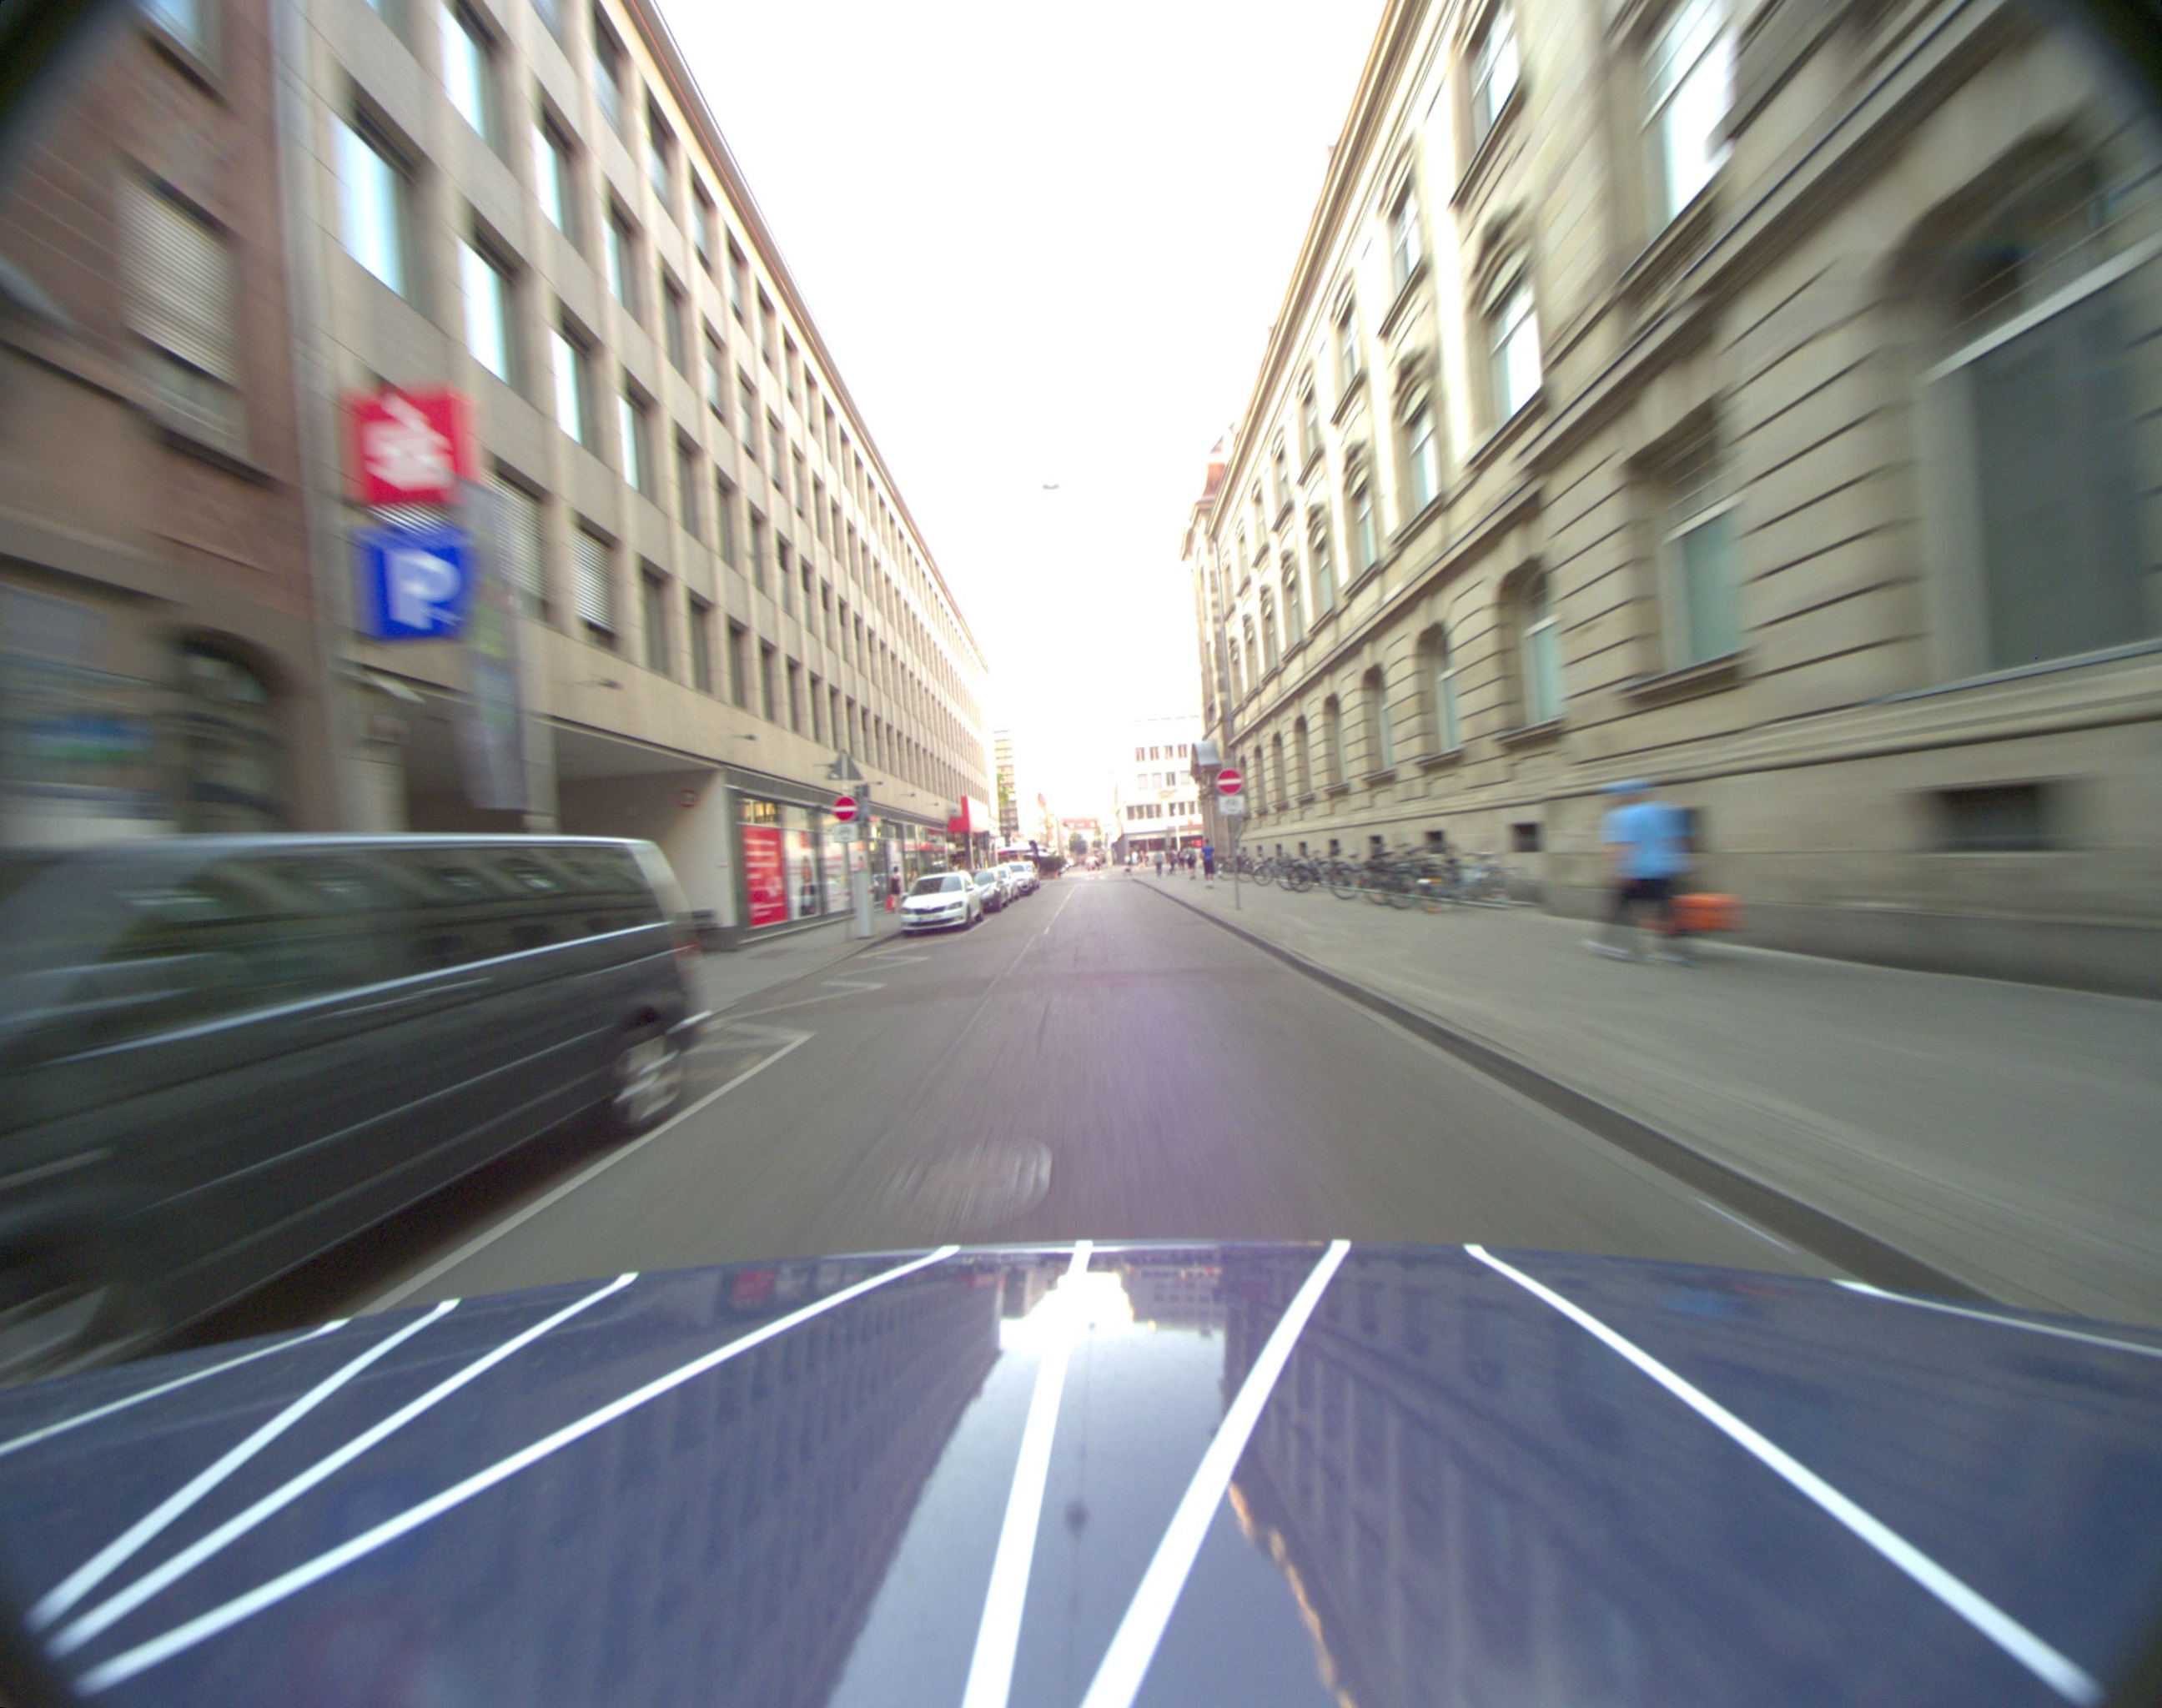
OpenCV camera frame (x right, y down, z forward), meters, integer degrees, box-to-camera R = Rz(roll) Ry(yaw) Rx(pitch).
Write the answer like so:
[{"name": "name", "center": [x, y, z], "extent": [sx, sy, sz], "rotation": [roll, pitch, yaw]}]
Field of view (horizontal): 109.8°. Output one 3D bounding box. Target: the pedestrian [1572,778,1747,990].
[{"name": "pedestrian", "center": [5.217, 0.262, 6.912], "extent": [0.831, 1.735, 0.769], "rotation": [-6, 0, 1]}]

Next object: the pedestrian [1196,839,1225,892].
[{"name": "pedestrian", "center": [4.640, 0.403, 27.184], "extent": [0.777, 1.778, 0.821], "rotation": [-5, 0, 15]}]

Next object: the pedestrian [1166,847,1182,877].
[{"name": "pedestrian", "center": [5.516, 0.462, 45.059], "extent": [0.731, 1.658, 0.858], "rotation": [-7, 0, 4]}]

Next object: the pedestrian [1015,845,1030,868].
[{"name": "pedestrian", "center": [-4.589, 0.199, 59.953], "extent": [0.685, 1.751, 0.801], "rotation": [-4, 0, 42]}]

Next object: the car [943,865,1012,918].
[{"name": "car", "center": [-3.465, 1.229, 26.207], "extent": [1.661, 1.439, 4.445], "rotation": [-5, 0, -1]}]

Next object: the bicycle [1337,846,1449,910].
[{"name": "bicycle", "center": [6.407, 0.484, 15.659], "extent": [1.943, 1.072, 0.730], "rotation": [-6, 1, -6]}]

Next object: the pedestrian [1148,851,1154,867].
[{"name": "pedestrian", "center": [7.649, 0.505, 83.174], "extent": [0.545, 1.698, 0.558], "rotation": [-5, 0, 1]}]

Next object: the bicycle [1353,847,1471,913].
[{"name": "bicycle", "center": [6.464, 0.494, 14.886], "extent": [1.943, 1.072, 0.730], "rotation": [-6, 1, -6]}]

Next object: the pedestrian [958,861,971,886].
[{"name": "pedestrian", "center": [-8.709, 1.449, 56.792], "extent": [0.800, 1.751, 0.687], "rotation": [-4, 0, -7]}]

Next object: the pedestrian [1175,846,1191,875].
[{"name": "pedestrian", "center": [6.237, 0.396, 46.536], "extent": [0.757, 1.632, 0.749], "rotation": [-7, 0, 8]}]

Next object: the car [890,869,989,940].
[{"name": "car", "center": [-3.620, 1.243, 20.234], "extent": [1.661, 1.439, 4.308], "rotation": [-5, 0, 1]}]

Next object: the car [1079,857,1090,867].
[{"name": "car", "center": [0.640, 1.493, 145.768], "extent": [1.798, 1.705, 4.001], "rotation": [-4, 0, 2]}]

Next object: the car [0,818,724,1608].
[{"name": "car", "center": [-3.786, 0.999, 3.299], "extent": [1.851, 2.046, 5.054], "rotation": [-5, 0, 1]}]

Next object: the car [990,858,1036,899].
[{"name": "car", "center": [-3.275, 1.130, 37.237], "extent": [1.780, 1.656, 4.812], "rotation": [-5, 0, -1]}]

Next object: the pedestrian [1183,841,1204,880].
[{"name": "pedestrian", "center": [5.336, 0.320, 36.056], "extent": [0.719, 1.770, 0.800], "rotation": [-6, 0, 2]}]

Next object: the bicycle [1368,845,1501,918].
[{"name": "bicycle", "center": [6.308, 0.480, 13.623], "extent": [1.942, 1.072, 0.748], "rotation": [-6, 1, 0]}]

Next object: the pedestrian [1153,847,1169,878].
[{"name": "pedestrian", "center": [4.731, 0.519, 45.110], "extent": [0.727, 1.732, 0.839], "rotation": [-7, 0, 4]}]

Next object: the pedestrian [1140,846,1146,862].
[{"name": "pedestrian", "center": [7.022, 0.018, 85.842], "extent": [0.545, 1.698, 0.558], "rotation": [-5, 0, 1]}]

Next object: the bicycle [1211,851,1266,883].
[{"name": "bicycle", "center": [6.539, 0.519, 31.606], "extent": [2.024, 1.102, 0.730], "rotation": [-6, 1, -5]}]

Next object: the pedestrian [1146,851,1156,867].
[{"name": "pedestrian", "center": [7.043, 0.490, 76.027], "extent": [0.676, 1.532, 0.641], "rotation": [-4, 1, -23]}]

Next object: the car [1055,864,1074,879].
[{"name": "car", "center": [-1.556, 1.703, 73.940], "extent": [1.741, 1.407, 4.682], "rotation": [-1, -1, 0]}]

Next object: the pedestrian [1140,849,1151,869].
[{"name": "pedestrian", "center": [5.705, 0.444, 67.428], "extent": [0.795, 1.679, 0.769], "rotation": [-4, 0, 3]}]

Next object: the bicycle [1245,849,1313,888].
[{"name": "bicycle", "center": [6.574, 0.484, 25.289], "extent": [1.942, 1.072, 0.730], "rotation": [-6, 1, -4]}]

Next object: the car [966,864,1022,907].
[{"name": "car", "center": [-3.553, 1.262, 31.757], "extent": [1.661, 1.439, 3.869], "rotation": [-5, 0, 2]}]

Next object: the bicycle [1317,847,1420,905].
[{"name": "bicycle", "center": [6.410, 0.482, 16.982], "extent": [1.943, 1.072, 0.730], "rotation": [-6, 1, -6]}]

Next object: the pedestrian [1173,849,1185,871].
[{"name": "pedestrian", "center": [7.418, 0.468, 57.518], "extent": [0.743, 1.649, 0.753], "rotation": [-4, 0, 7]}]

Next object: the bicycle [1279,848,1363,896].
[{"name": "bicycle", "center": [6.490, 0.489, 20.598], "extent": [1.943, 1.072, 0.730], "rotation": [-6, 1, -6]}]

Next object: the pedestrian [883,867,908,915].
[{"name": "pedestrian", "center": [-6.541, 1.303, 26.882], "extent": [0.650, 1.626, 0.650], "rotation": [-3, 0, 0]}]

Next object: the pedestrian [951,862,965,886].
[{"name": "pedestrian", "center": [-9.048, 1.458, 55.894], "extent": [0.799, 1.751, 0.687], "rotation": [-4, 0, -5]}]

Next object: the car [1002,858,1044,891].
[{"name": "car", "center": [-3.246, 1.133, 43.222], "extent": [1.744, 1.589, 4.714], "rotation": [-6, 0, 1]}]

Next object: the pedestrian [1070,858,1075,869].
[{"name": "pedestrian", "center": [-1.309, 1.431, 115.943], "extent": [0.650, 1.651, 0.650], "rotation": [-4, 0, -2]}]

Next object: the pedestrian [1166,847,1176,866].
[{"name": "pedestrian", "center": [8.092, 0.211, 68.157], "extent": [0.732, 1.679, 0.746], "rotation": [-4, 0, 3]}]

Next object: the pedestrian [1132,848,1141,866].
[{"name": "pedestrian", "center": [6.018, 0.355, 81.936], "extent": [0.783, 1.881, 0.642], "rotation": [-4, 1, 1]}]

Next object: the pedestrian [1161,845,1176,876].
[{"name": "pedestrian", "center": [5.388, 0.417, 46.759], "extent": [0.718, 1.819, 0.870], "rotation": [-7, 0, 8]}]

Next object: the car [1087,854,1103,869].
[{"name": "car", "center": [1.785, 0.953, 96.493], "extent": [1.824, 1.728, 4.000], "rotation": [-4, 0, 0]}]

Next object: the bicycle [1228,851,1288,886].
[{"name": "bicycle", "center": [6.680, 0.539, 28.729], "extent": [2.026, 1.072, 0.729], "rotation": [-6, 1, -18]}]

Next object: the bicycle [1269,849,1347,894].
[{"name": "bicycle", "center": [6.497, 0.502, 21.788], "extent": [1.943, 1.072, 0.730], "rotation": [-6, 1, -6]}]

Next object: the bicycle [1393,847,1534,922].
[{"name": "bicycle", "center": [6.369, 0.500, 12.702], "extent": [1.940, 1.039, 0.721], "rotation": [-5, 0, -3]}]

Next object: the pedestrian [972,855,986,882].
[{"name": "pedestrian", "center": [-7.434, 1.062, 55.605], "extent": [0.799, 1.907, 0.687], "rotation": [-4, 0, 0]}]

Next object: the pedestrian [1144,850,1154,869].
[{"name": "pedestrian", "center": [6.123, 0.512, 68.254], "extent": [0.795, 1.679, 0.769], "rotation": [-4, 0, 3]}]
